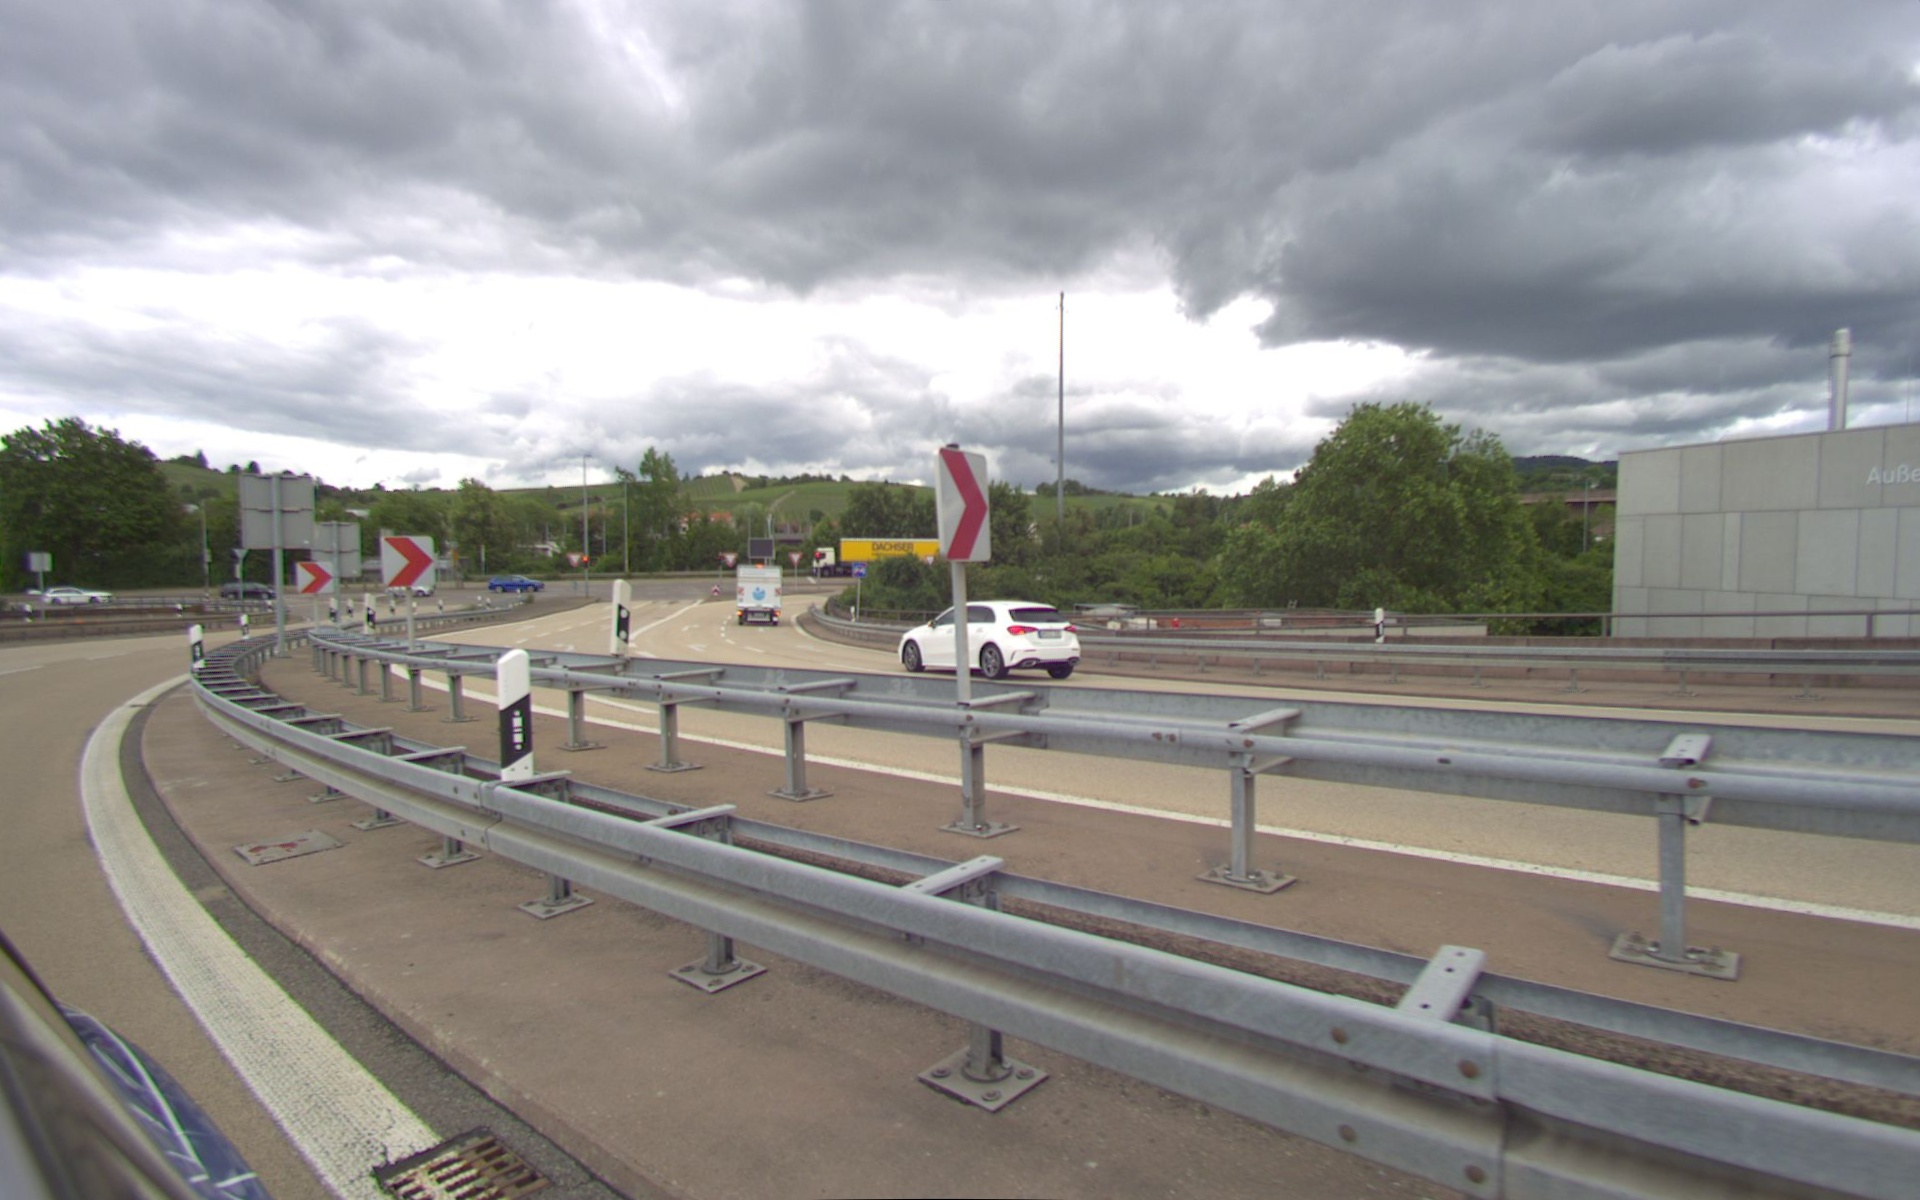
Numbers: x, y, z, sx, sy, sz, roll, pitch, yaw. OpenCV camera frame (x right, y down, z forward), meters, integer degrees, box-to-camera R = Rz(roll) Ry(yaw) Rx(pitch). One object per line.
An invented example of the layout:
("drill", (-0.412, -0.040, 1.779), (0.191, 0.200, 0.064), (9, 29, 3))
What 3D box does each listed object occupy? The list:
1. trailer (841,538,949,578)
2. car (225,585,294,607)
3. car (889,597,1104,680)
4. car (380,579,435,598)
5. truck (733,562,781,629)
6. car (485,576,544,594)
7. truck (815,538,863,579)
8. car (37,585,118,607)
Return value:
("trailer", (-7.034, -4.585, 109.631), (11.470, 4.235, 2.641), (-1, 3, -8))
("car", (-58.562, -0.382, 84.637), (4.225, 1.567, 1.953), (-2, 4, -10))
("car", (0.582, 0.719, 19.671), (1.885, 1.425, 4.376), (2, -2, -35))
("car", (-46.887, -0.993, 85.940), (3.689, 1.384, 1.632), (-2, 4, -9))
("truck", (-10.758, -0.318, 53.258), (2.314, 3.287, 7.013), (0, 1, -13))
("car", (-39.425, -1.333, 89.674), (4.471, 1.464, 1.613), (-1, 4, -7))
("truck", (-13.006, -4.482, 108.752), (5.021, 4.235, 2.641), (-1, 3, -8))
("car", (-72.118, -0.344, 82.745), (4.640, 1.572, 1.882), (-2, 4, -9))
